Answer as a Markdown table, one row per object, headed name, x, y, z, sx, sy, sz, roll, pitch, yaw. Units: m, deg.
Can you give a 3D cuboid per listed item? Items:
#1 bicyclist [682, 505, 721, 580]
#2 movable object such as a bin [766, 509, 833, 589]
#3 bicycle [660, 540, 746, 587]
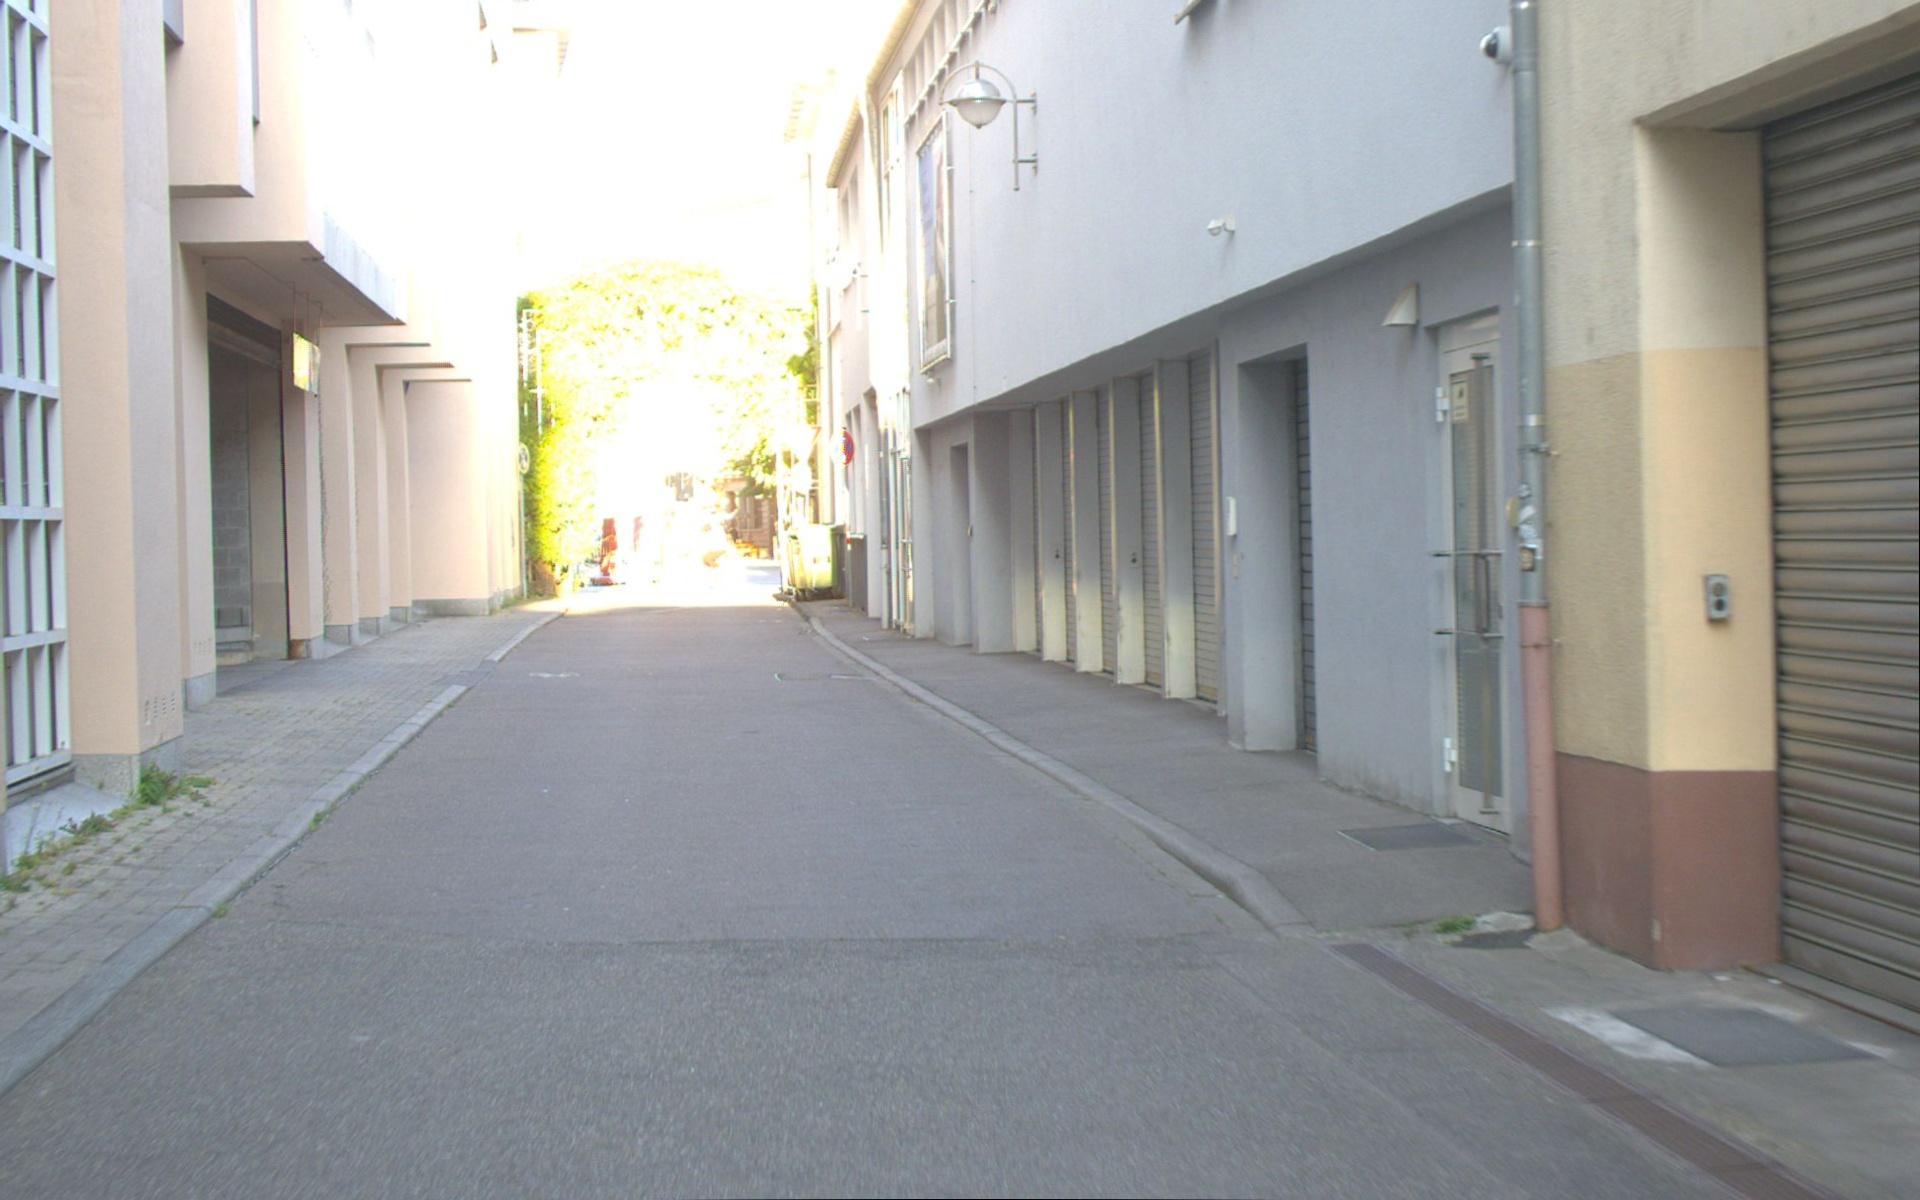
| name | x | y | z | sx | sy | sz | roll | pitch | yaw |
| --- | --- | --- | --- | --- | --- | --- | --- | --- | --- |
| bicyclist | -6.179 | -1.377 | 82.120 | 0.879 | 1.779 | 0.736 | 0 | 1 | -9 |
| movable object such as a bin | -2.883 | -0.915 | 61.604 | 0.937 | 1.362 | 1.342 | -4 | 2 | -11 |
| bicycle | -6.136 | -0.881 | 82.133 | 1.983 | 1.108 | 0.736 | 0 | 1 | -9 |
